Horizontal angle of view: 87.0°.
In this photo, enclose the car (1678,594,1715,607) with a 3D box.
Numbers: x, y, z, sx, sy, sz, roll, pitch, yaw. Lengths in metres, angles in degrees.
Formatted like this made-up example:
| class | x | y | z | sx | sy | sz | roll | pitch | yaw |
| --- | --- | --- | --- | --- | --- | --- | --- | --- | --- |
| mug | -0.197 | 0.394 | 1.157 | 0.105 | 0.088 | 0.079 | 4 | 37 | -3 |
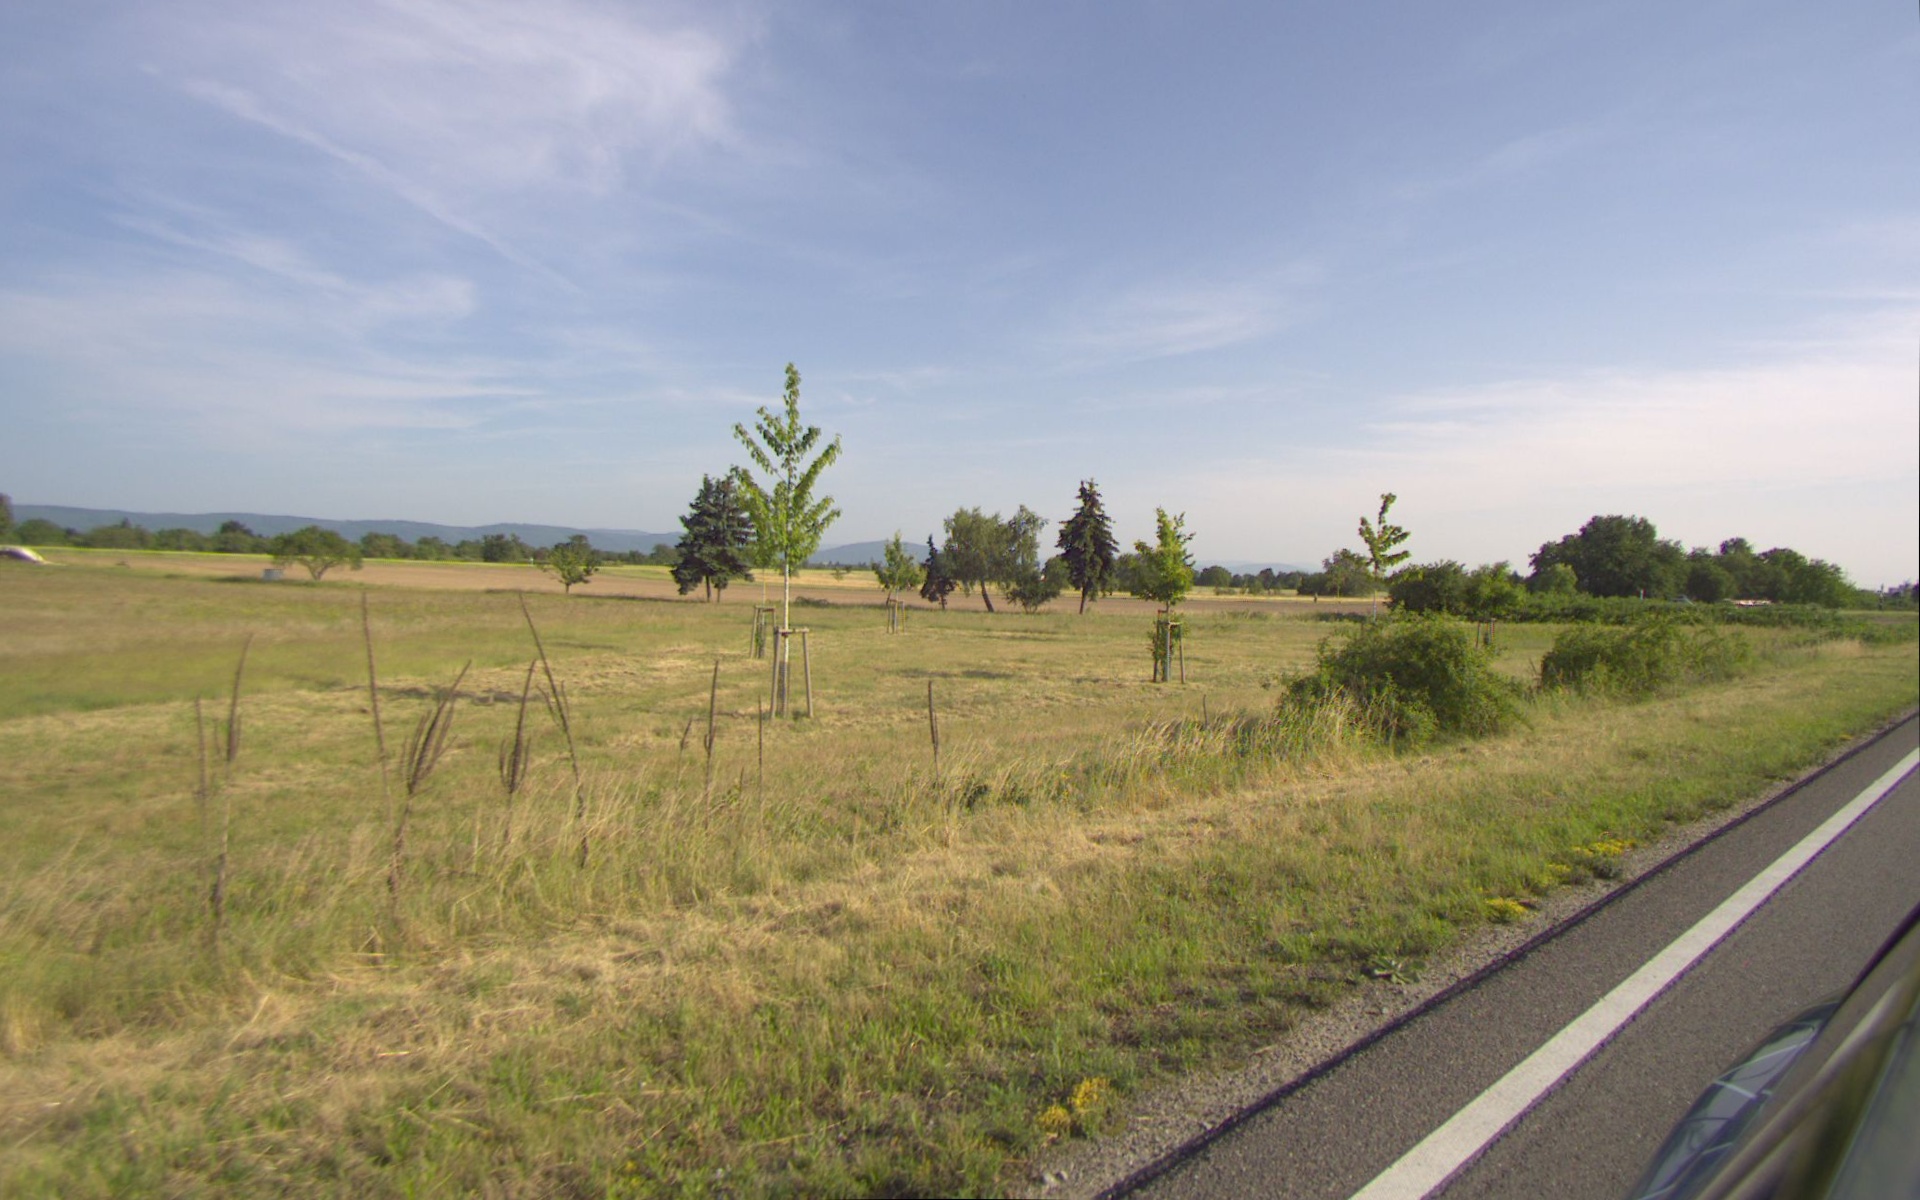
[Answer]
| class | x | y | z | sx | sy | sz | roll | pitch | yaw |
| --- | --- | --- | --- | --- | --- | --- | --- | --- | --- |
| car | 98.597 | 0.074 | 135.548 | 3.973 | 1.672 | 1.975 | 0 | 0 | 35 |
